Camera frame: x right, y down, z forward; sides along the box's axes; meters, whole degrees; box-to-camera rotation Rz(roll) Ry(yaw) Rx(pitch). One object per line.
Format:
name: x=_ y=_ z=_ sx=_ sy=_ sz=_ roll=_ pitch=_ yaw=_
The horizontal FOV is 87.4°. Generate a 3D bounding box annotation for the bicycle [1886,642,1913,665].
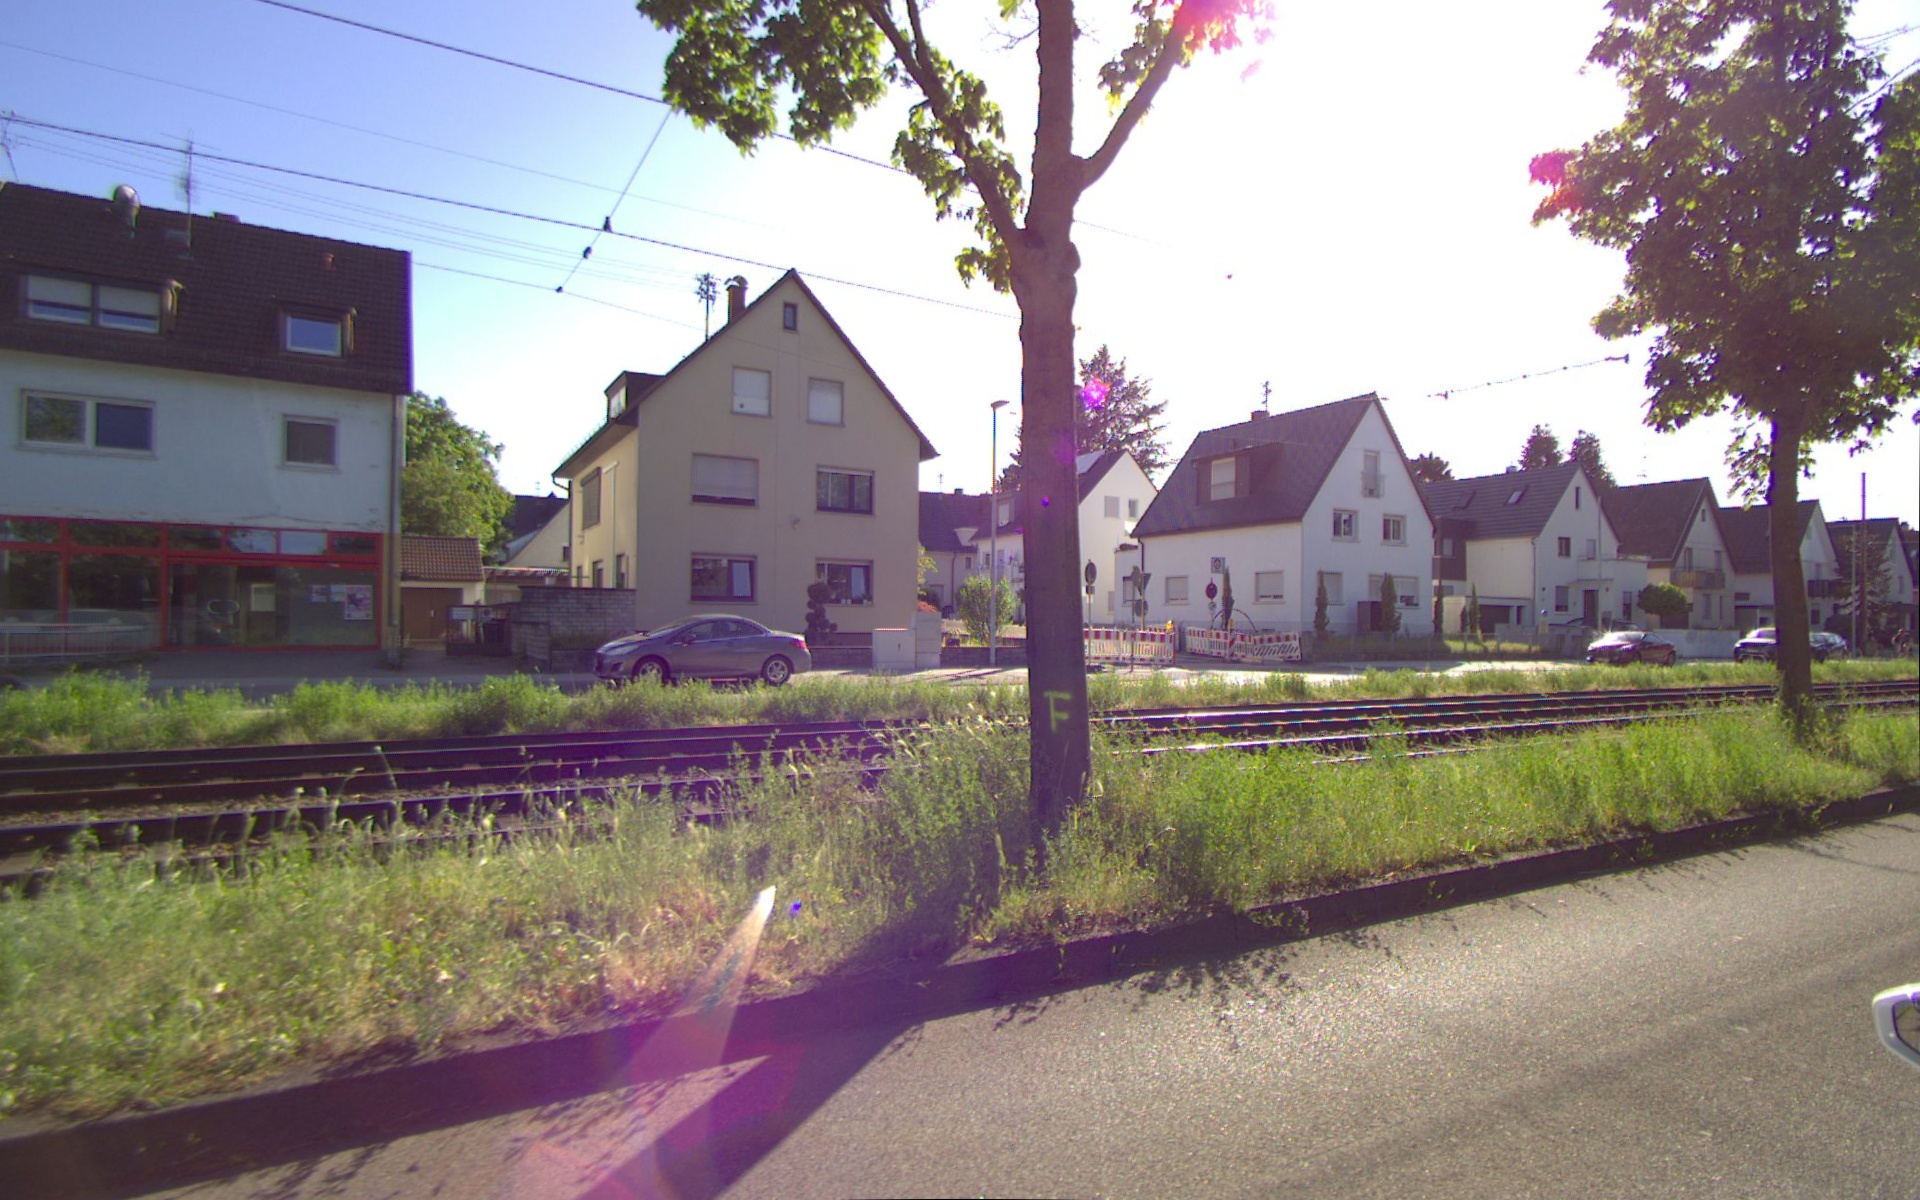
bicycle: x=44.918 y=2.539 z=48.018 sx=1.857 sy=1.084 sz=0.396 roll=1 pitch=-1 yaw=-30

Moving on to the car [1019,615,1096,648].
car: x=5.565 y=1.807 z=57.670 sx=3.942 sy=1.799 sz=1.990 roll=1 pitch=-1 yaw=-22

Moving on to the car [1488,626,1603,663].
car: x=26.996 y=2.037 z=46.445 sx=1.917 sy=1.483 sz=4.188 roll=2 pitch=0 yaw=-33

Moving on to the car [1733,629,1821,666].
car: x=37.440 y=2.172 z=46.012 sx=4.333 sy=1.589 sz=1.637 roll=2 pitch=0 yaw=-29

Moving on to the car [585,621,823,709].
car: x=-5.295 y=1.290 z=20.910 sx=4.444 sy=1.603 sz=1.984 roll=1 pitch=0 yaw=-30

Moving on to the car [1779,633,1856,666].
car: x=41.084 y=2.382 z=48.121 sx=3.942 sy=1.470 sz=1.606 roll=2 pitch=0 yaw=-30

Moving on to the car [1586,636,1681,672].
car: x=26.775 y=2.153 z=39.934 sx=3.951 sy=1.344 sz=1.487 roll=2 pitch=0 yaw=-29

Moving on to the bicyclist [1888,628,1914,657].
bicyclist: x=45.091 y=2.018 z=48.124 sx=0.871 sy=1.354 sz=0.685 roll=1 pitch=-1 yaw=-30
